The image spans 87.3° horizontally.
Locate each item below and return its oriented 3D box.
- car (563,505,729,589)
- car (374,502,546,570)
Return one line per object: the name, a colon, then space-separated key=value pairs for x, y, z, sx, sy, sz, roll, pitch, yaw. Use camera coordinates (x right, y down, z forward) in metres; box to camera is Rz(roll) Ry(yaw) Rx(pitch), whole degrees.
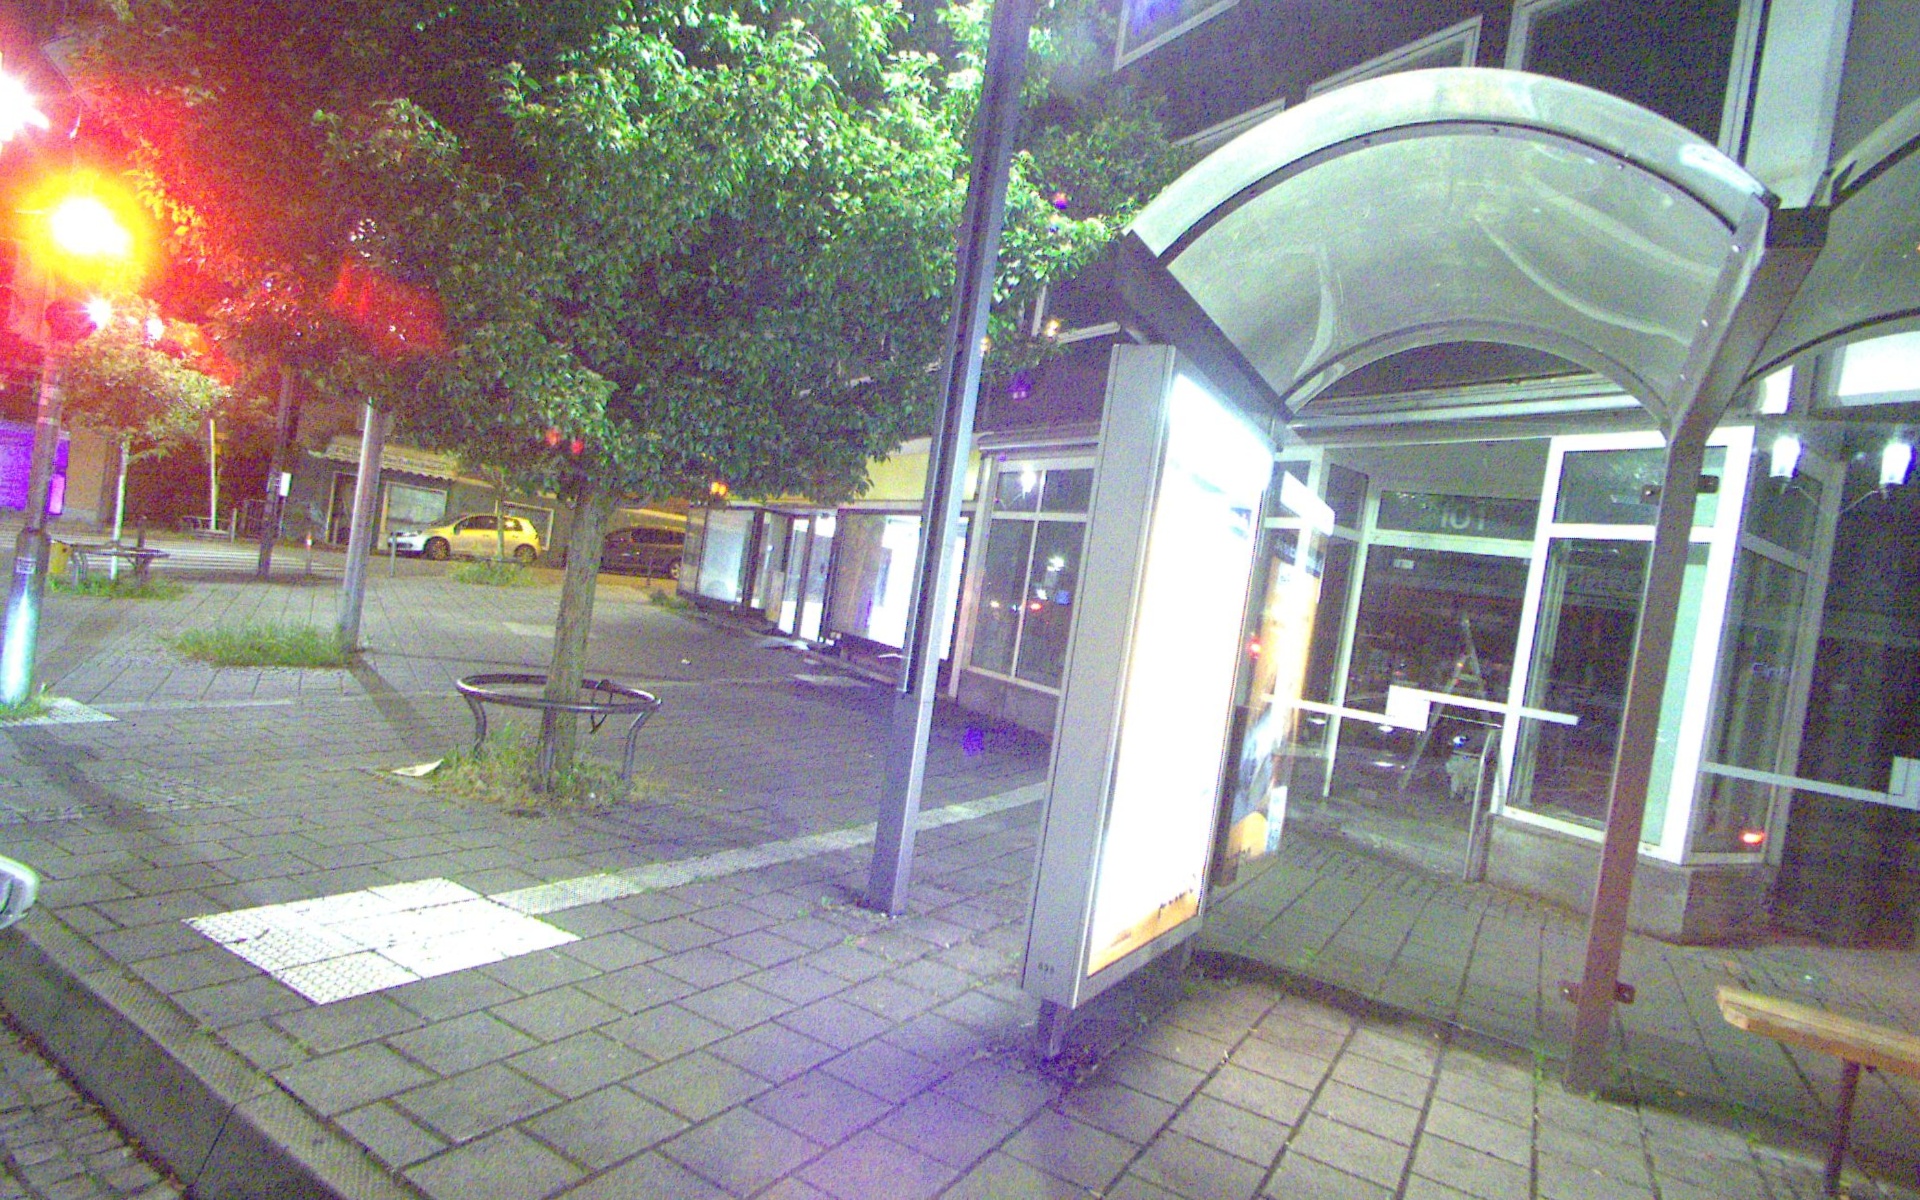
car: x=-10.129 y=-1.629 z=32.462 sx=4.783 sy=1.932 sz=2.148 roll=8 pitch=-2 yaw=-23
car: x=-14.479 y=-1.823 z=29.292 sx=1.798 sy=1.472 sz=4.036 roll=8 pitch=2 yaw=38
